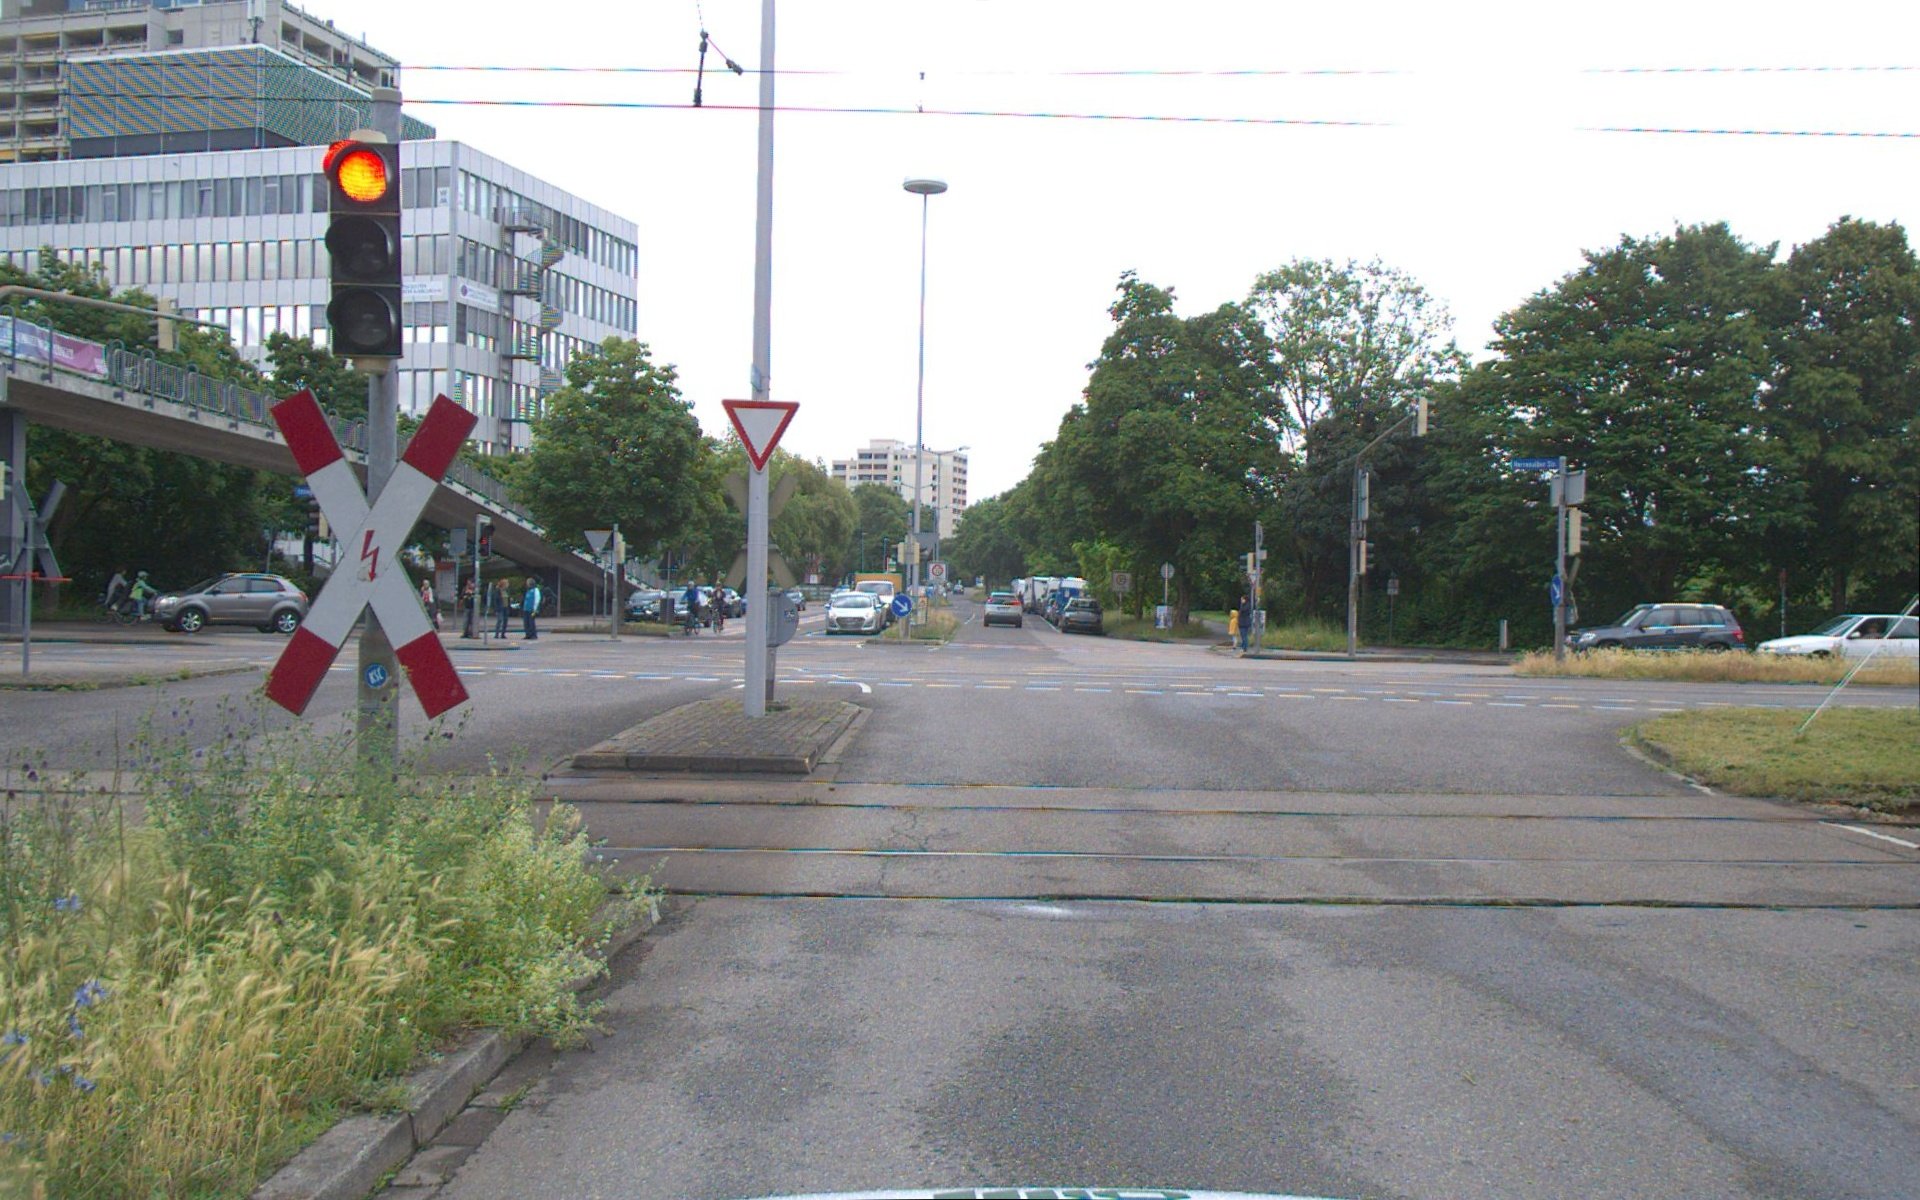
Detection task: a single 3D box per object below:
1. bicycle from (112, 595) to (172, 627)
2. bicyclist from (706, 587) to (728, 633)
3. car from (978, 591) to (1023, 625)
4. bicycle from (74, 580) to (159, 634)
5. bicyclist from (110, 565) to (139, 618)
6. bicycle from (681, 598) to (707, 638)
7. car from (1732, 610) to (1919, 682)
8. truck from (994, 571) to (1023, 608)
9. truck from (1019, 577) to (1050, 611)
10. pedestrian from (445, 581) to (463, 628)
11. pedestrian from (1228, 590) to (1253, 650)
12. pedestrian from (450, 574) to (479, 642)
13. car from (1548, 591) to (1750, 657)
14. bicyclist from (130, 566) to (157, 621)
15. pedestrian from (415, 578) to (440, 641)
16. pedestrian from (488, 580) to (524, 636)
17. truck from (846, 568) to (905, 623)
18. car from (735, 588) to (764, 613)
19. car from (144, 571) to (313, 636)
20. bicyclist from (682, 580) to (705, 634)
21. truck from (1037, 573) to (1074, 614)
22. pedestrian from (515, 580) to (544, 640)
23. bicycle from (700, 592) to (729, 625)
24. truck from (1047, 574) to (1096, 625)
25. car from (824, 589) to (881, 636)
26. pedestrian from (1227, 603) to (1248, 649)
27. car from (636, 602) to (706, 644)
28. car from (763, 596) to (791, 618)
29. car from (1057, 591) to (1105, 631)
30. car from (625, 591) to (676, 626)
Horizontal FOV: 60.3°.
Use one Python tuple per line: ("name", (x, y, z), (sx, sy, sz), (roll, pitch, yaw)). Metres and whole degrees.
("bicycle", (-25.468, 0.339, 51.548), (0.618, 0.941, 2.523), (1, 0, -1))
("bicyclist", (-8.685, 0.364, 59.174), (0.665, 1.622, 0.695), (1, -1, -1))
("car", (1.938, 0.355, 79.766), (1.979, 1.531, 3.999), (1, 0, -1))
("bicycle", (-26.855, 0.235, 52.675), (2.338, 1.654, 0.521), (1, -1, -35))
("bicyclist", (-26.665, -0.275, 52.791), (0.741, 1.654, 0.521), (1, -1, -34))
("bicycle", (-8.925, 0.601, 55.496), (0.532, 1.289, 2.110), (1, 0, -1))
("car", (18.564, 0.946, 34.592), (4.052, 1.381, 1.647), (1, 0, 0))
("truck", (4.182, -0.903, 142.988), (1.954, 3.061, 5.767), (1, 0, -4))
("truck", (5.957, -0.432, 132.221), (1.954, 2.618, 5.375), (1, 0, -3))
("pedestrian", (-17.242, 0.153, 56.358), (0.570, 1.607, 0.777), (1, 0, -19))
("pedestrian", (8.374, 0.591, 49.353), (0.643, 1.780, 0.459), (1, 0, -1))
("pedestrian", (-13.646, 0.214, 45.587), (0.625, 1.835, 0.800), (1, 0, -10))
("car", (17.469, 0.591, 42.077), (4.373, 1.530, 1.846), (1, 0, 0))
("bicyclist", (-25.491, -0.201, 51.627), (0.553, 1.673, 0.531), (1, -1, 0))
("pedestrian", (-14.622, 0.251, 45.416), (0.608, 1.721, 0.404), (1, 0, -15))
("pedestrian", (-12.526, 0.217, 45.684), (0.901, 1.537, 0.403), (1, 0, -12))
("truck", (-3.620, -0.208, 71.954), (2.111, 2.237, 5.841), (1, 0, 1))
("car", (-13.678, 0.040, 107.661), (1.415, 1.579, 3.664), (1, 0, 0))
("car", (-21.030, 0.109, 47.672), (4.173, 1.765, 1.604), (1, 0, -43))
("bicyclist", (-8.923, 0.228, 55.406), (0.631, 1.799, 0.646), (1, 0, -1))
("truck", (6.916, -0.474, 120.163), (1.954, 2.888, 5.726), (1, 0, -4))
("pedestrian", (-11.865, 0.260, 45.619), (0.673, 1.633, 0.487), (1, 0, -5))
("bicycle", (-8.706, 0.281, 58.703), (0.712, 1.120, 2.264), (1, 0, -1))
("truck", (6.082, 0.002, 90.801), (2.130, 2.703, 6.245), (0, 0, -1))
("car", (-3.718, 0.405, 57.828), (1.753, 1.545, 4.325), (1, 0, -1))
("pedestrian", (8.381, 0.789, 49.999), (0.516, 1.365, 0.525), (1, 0, -1))
("car", (-11.626, 0.895, 66.697), (1.636, 1.579, 4.003), (1, 0, 8))
("car", (-13.874, 0.489, 125.616), (1.637, 1.579, 4.000), (1, 0, 0))
("car", (5.396, 0.467, 73.991), (1.747, 1.691, 3.999), (1, 0, -1))
("car", (-14.453, 0.384, 77.407), (1.637, 1.579, 3.892), (1, 0, 0))
